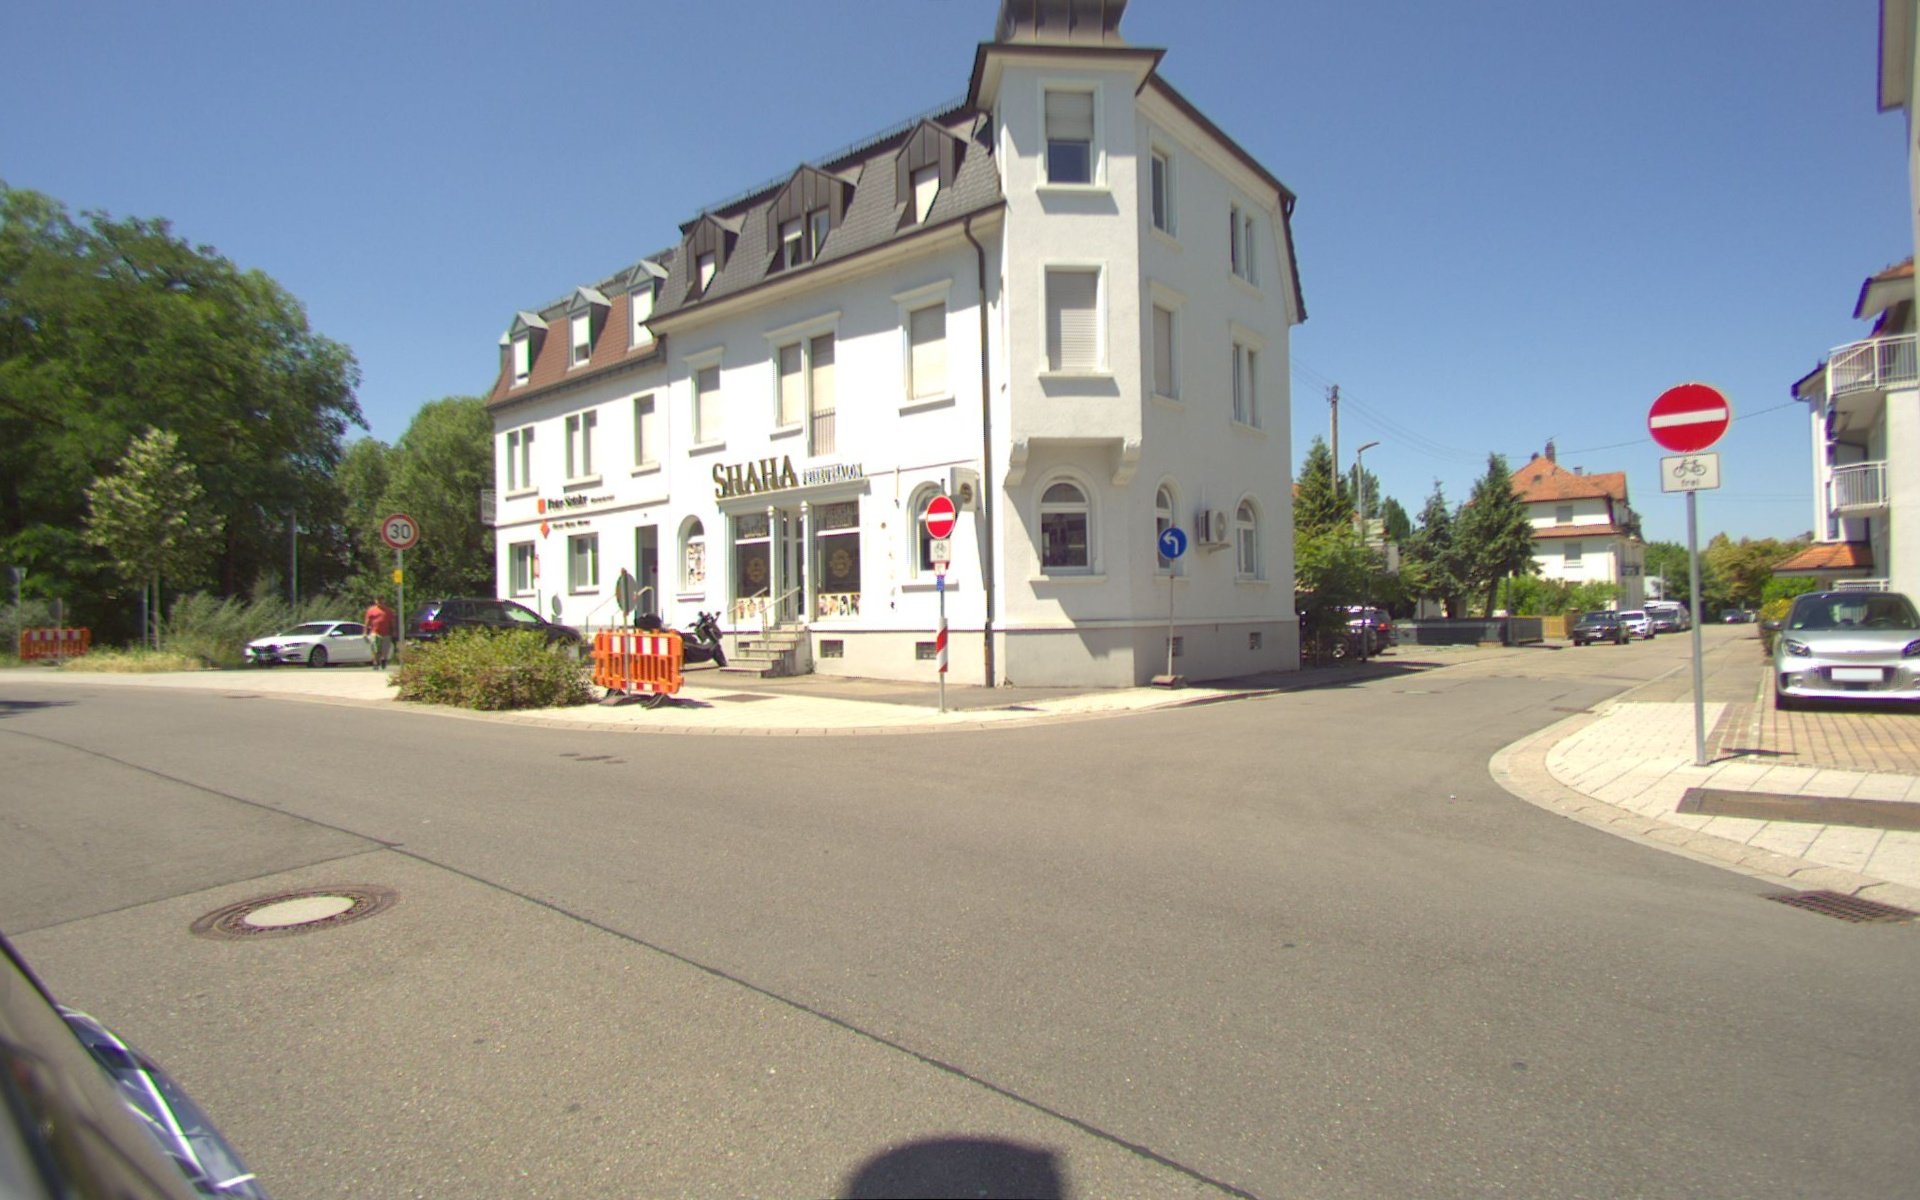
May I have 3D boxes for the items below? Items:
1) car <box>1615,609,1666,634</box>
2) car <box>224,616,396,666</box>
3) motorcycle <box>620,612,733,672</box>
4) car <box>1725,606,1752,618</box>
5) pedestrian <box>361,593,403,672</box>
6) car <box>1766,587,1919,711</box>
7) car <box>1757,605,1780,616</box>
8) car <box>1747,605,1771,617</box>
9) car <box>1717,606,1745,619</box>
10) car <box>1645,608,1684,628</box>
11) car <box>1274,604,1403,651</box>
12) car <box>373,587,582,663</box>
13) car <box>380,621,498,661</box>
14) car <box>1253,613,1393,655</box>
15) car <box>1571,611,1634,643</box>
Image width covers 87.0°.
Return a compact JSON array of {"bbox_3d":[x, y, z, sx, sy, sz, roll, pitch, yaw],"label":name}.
[{"bbox_3d":[39.199,1.224,58.274,1.999,1.431,3.946,-1,-1,40],"label":"car"},{"bbox_3d":[-19.456,1.183,30.590,1.974,1.366,4.702,-1,-1,4],"label":"car"},{"bbox_3d":[-6.173,0.881,22.170,0.832,1.227,2.371,0,0,39],"label":"motorcycle"},{"bbox_3d":[92.365,1.403,120.063,3.941,1.431,2.001,0,-1,-45],"label":"car"},{"bbox_3d":[-13.211,0.739,23.155,0.726,1.767,0.739,0,-1,-21],"label":"pedestrian"},{"bbox_3d":[11.939,0.595,13.496,1.689,1.469,3.233,-2,-2,37],"label":"car"},{"bbox_3d":[110.174,1.440,137.924,3.941,1.431,2.001,0,-1,-45],"label":"car"},{"bbox_3d":[103.371,1.429,130.864,3.941,1.431,2.001,0,-1,-45],"label":"car"},{"bbox_3d":[88.547,1.396,116.237,3.941,1.431,2.001,0,-1,-45],"label":"car"},{"bbox_3d":[51.876,1.332,74.463,1.999,1.431,3.946,-1,-1,40],"label":"car"},{"bbox_3d":[13.482,0.983,36.168,3.998,1.590,1.644,-1,-1,41],"label":"car"},{"bbox_3d":[-11.516,0.575,24.392,1.967,1.675,4.142,-1,-1,37],"label":"car"},{"bbox_3d":[-18.817,1.512,36.757,1.975,1.355,3.994,1,-3,5],"label":"car"},{"bbox_3d":[12.007,1.092,33.596,3.999,1.302,1.827,-1,-1,42],"label":"car"},{"bbox_3d":[30.596,1.251,48.171,1.999,1.431,3.946,-1,-1,40],"label":"car"}]
